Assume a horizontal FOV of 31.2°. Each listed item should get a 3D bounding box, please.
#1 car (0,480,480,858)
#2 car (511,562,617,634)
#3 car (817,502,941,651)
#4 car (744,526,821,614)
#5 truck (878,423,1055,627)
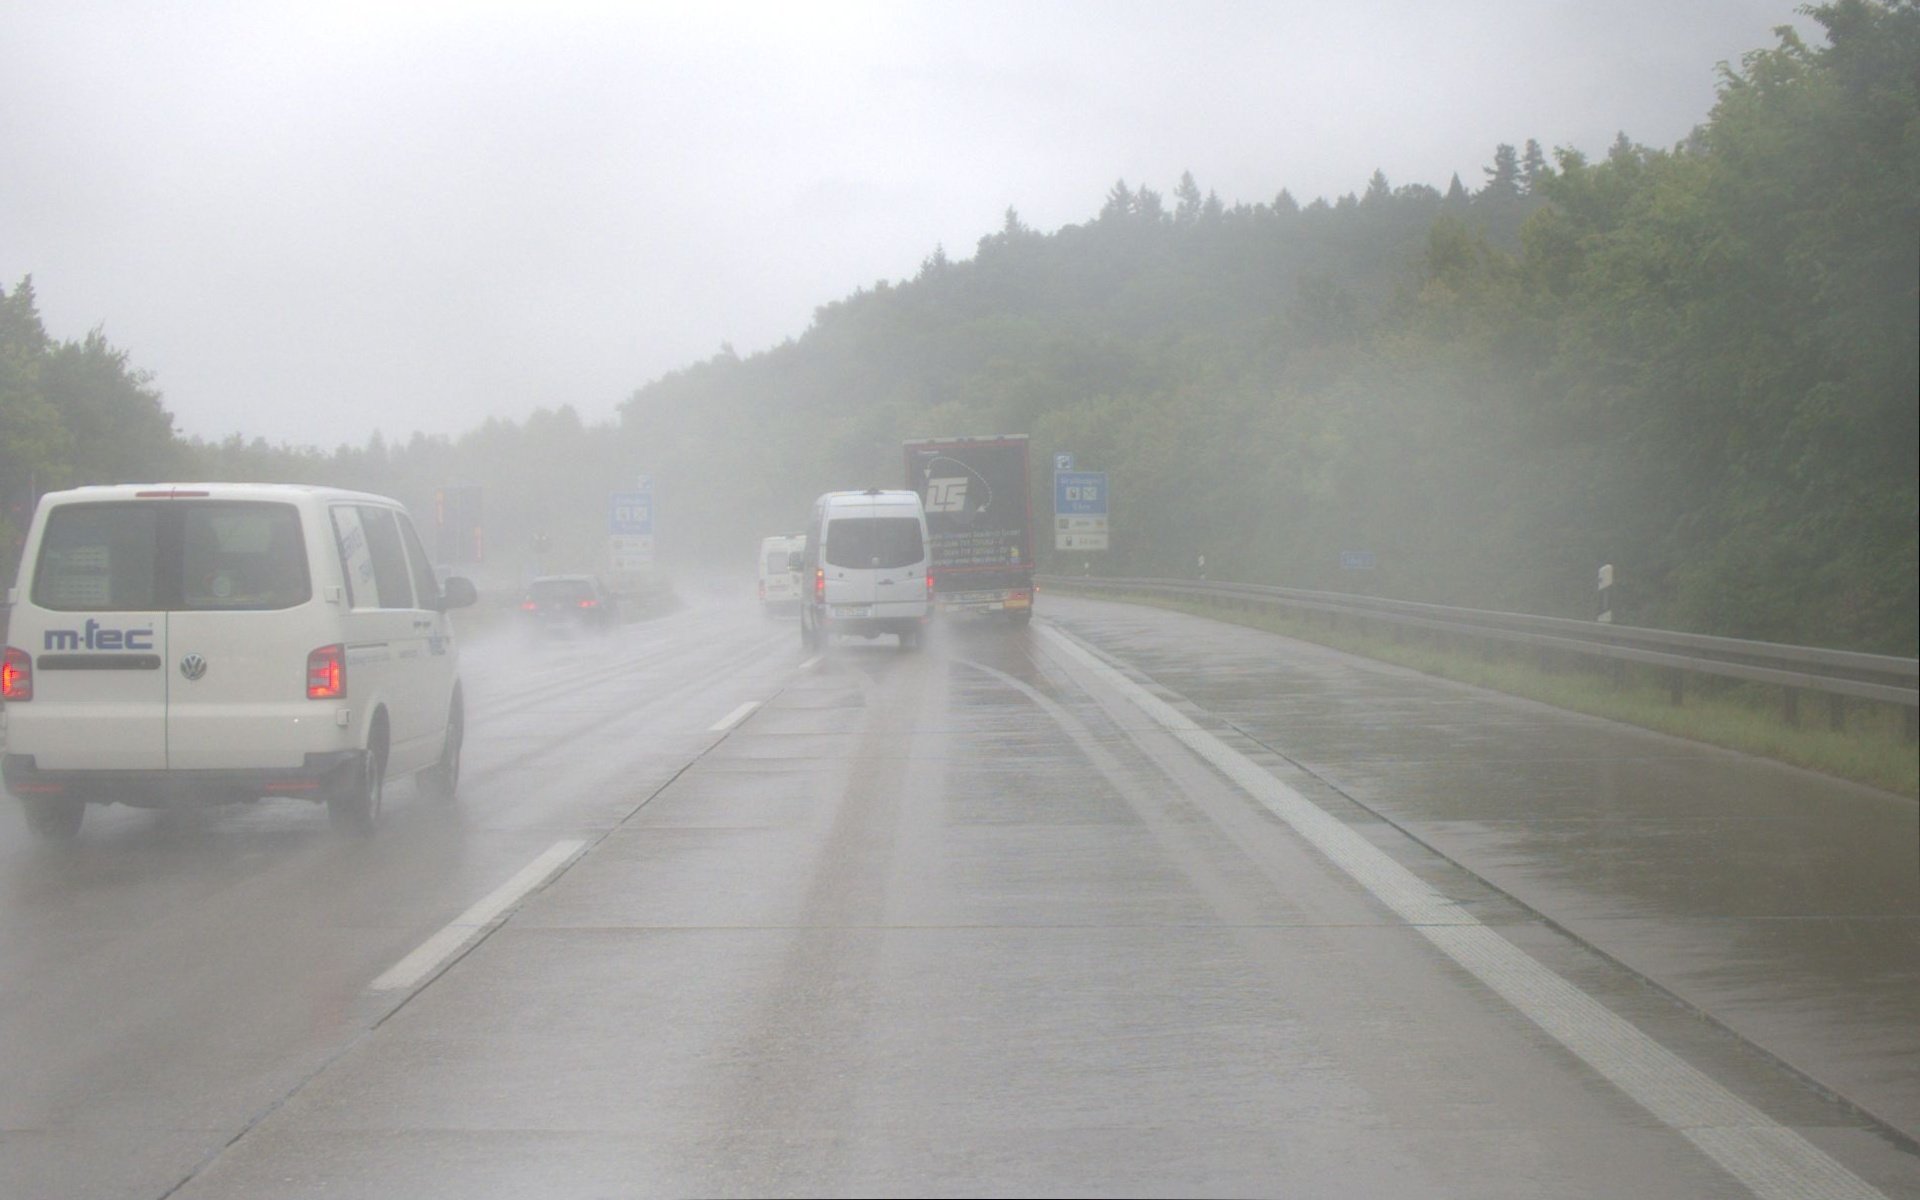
[{"bbox_3d":[-4.031,0.324,19.705,1.899,1.888,5.043,0,0,-1],"label":"car"},{"bbox_3d":[-7.789,-0.038,67.876,1.740,1.383,4.322,0,0,-2],"label":"car"},{"bbox_3d":[-1.389,-0.402,57.811,1.899,2.326,5.251,2,0,-2],"label":"car"},{"bbox_3d":[-5.117,-0.870,99.691,1.997,2.423,5.791,2,0,-2],"label":"car"},{"bbox_3d":[0.057,-1.701,74.048,3.385,3.954,8.668,-3,2,-1],"label":"truck"}]
